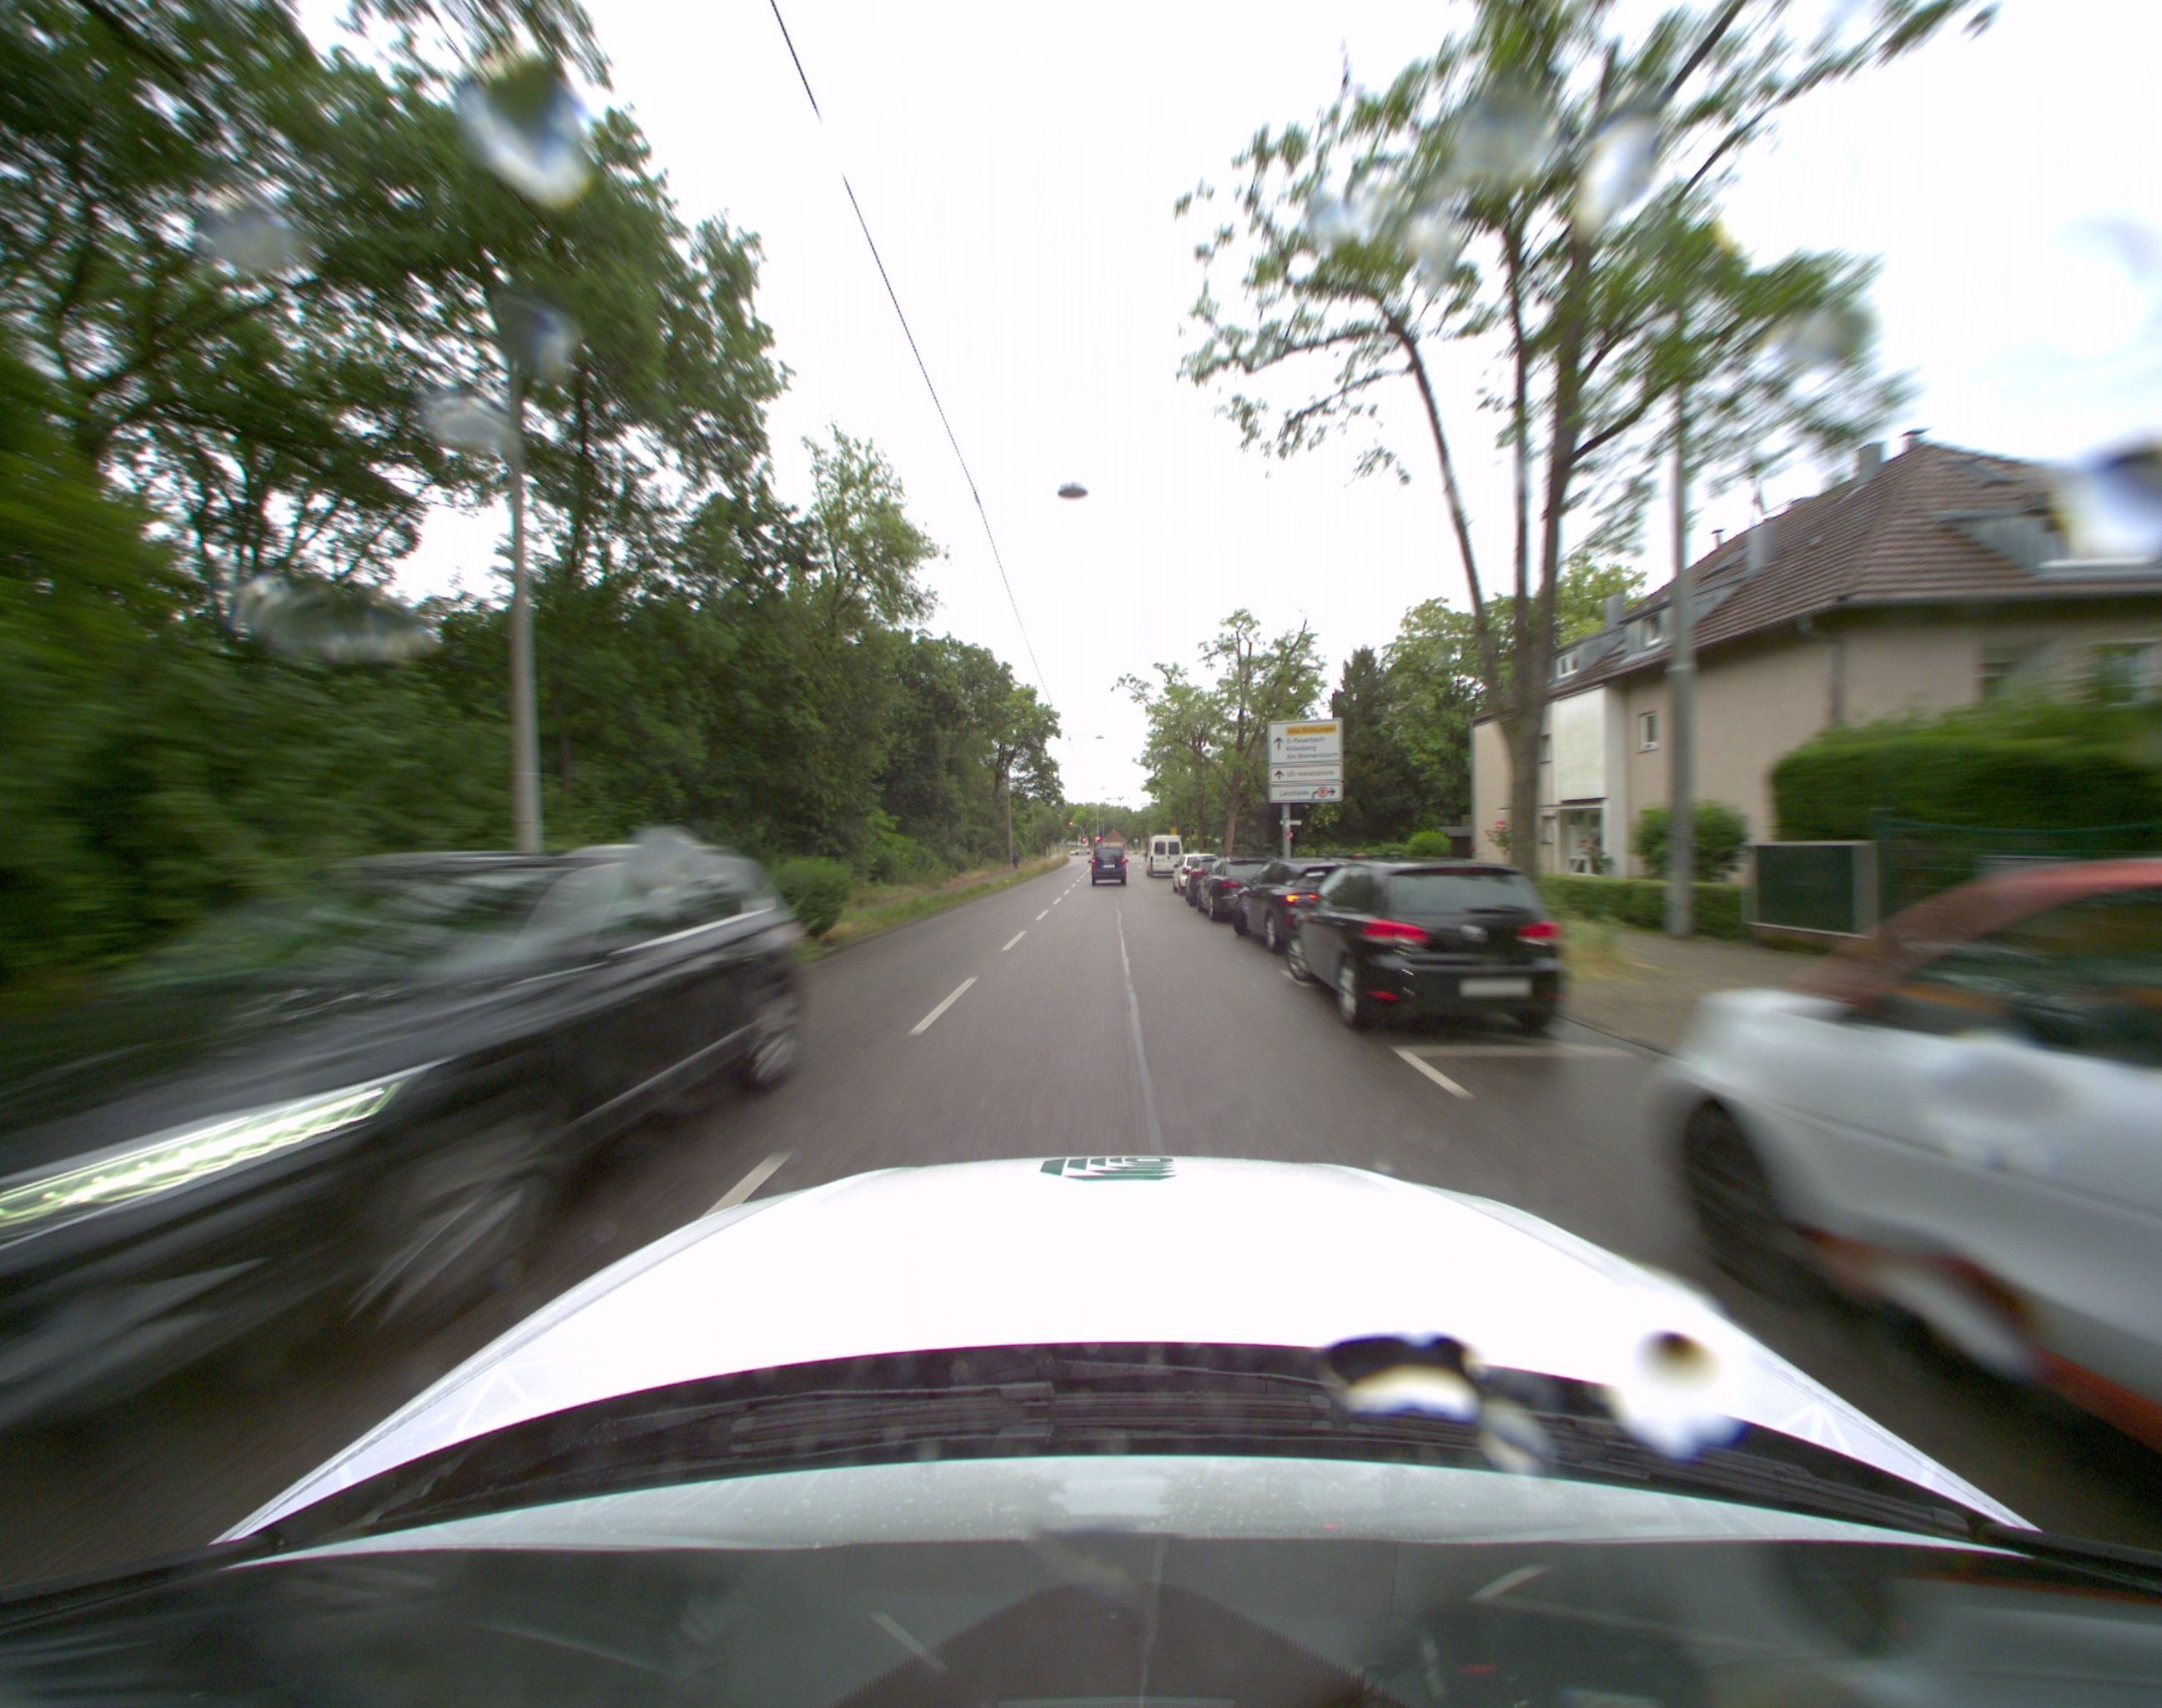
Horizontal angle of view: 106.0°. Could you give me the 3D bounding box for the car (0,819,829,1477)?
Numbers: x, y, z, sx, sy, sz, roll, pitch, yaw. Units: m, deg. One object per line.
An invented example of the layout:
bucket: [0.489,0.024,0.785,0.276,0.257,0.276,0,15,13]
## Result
car: [-2.887,0.716,4.105,1.716,1.615,4.158,-2,1,2]

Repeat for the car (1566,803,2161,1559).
car: [2.984,0.643,2.197,1.627,1.509,2.958,0,1,1]

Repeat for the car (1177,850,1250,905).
car: [3.965,0.660,24.893,1.692,1.524,3.869,0,1,1]

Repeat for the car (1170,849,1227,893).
car: [4.357,0.585,30.706,1.692,1.524,3.869,0,1,1]

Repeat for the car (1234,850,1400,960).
car: [3.662,0.705,13.344,1.692,1.524,3.869,0,1,1]

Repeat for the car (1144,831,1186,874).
car: [5.068,-0.090,49.552,2.196,2.449,4.732,-1,0,2]

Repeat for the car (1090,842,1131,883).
car: [1.357,0.356,38.872,1.761,1.830,3.541,0,1,-1]

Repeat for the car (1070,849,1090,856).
car: [-0.175,-0.301,176.590,4.010,1.376,1.724,0,1,11]

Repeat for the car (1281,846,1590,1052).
car: [3.178,0.702,8.180,1.690,1.524,3.873,0,1,5]

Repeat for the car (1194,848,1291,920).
car: [3.748,0.628,19.507,1.691,1.524,4.214,0,1,3]
